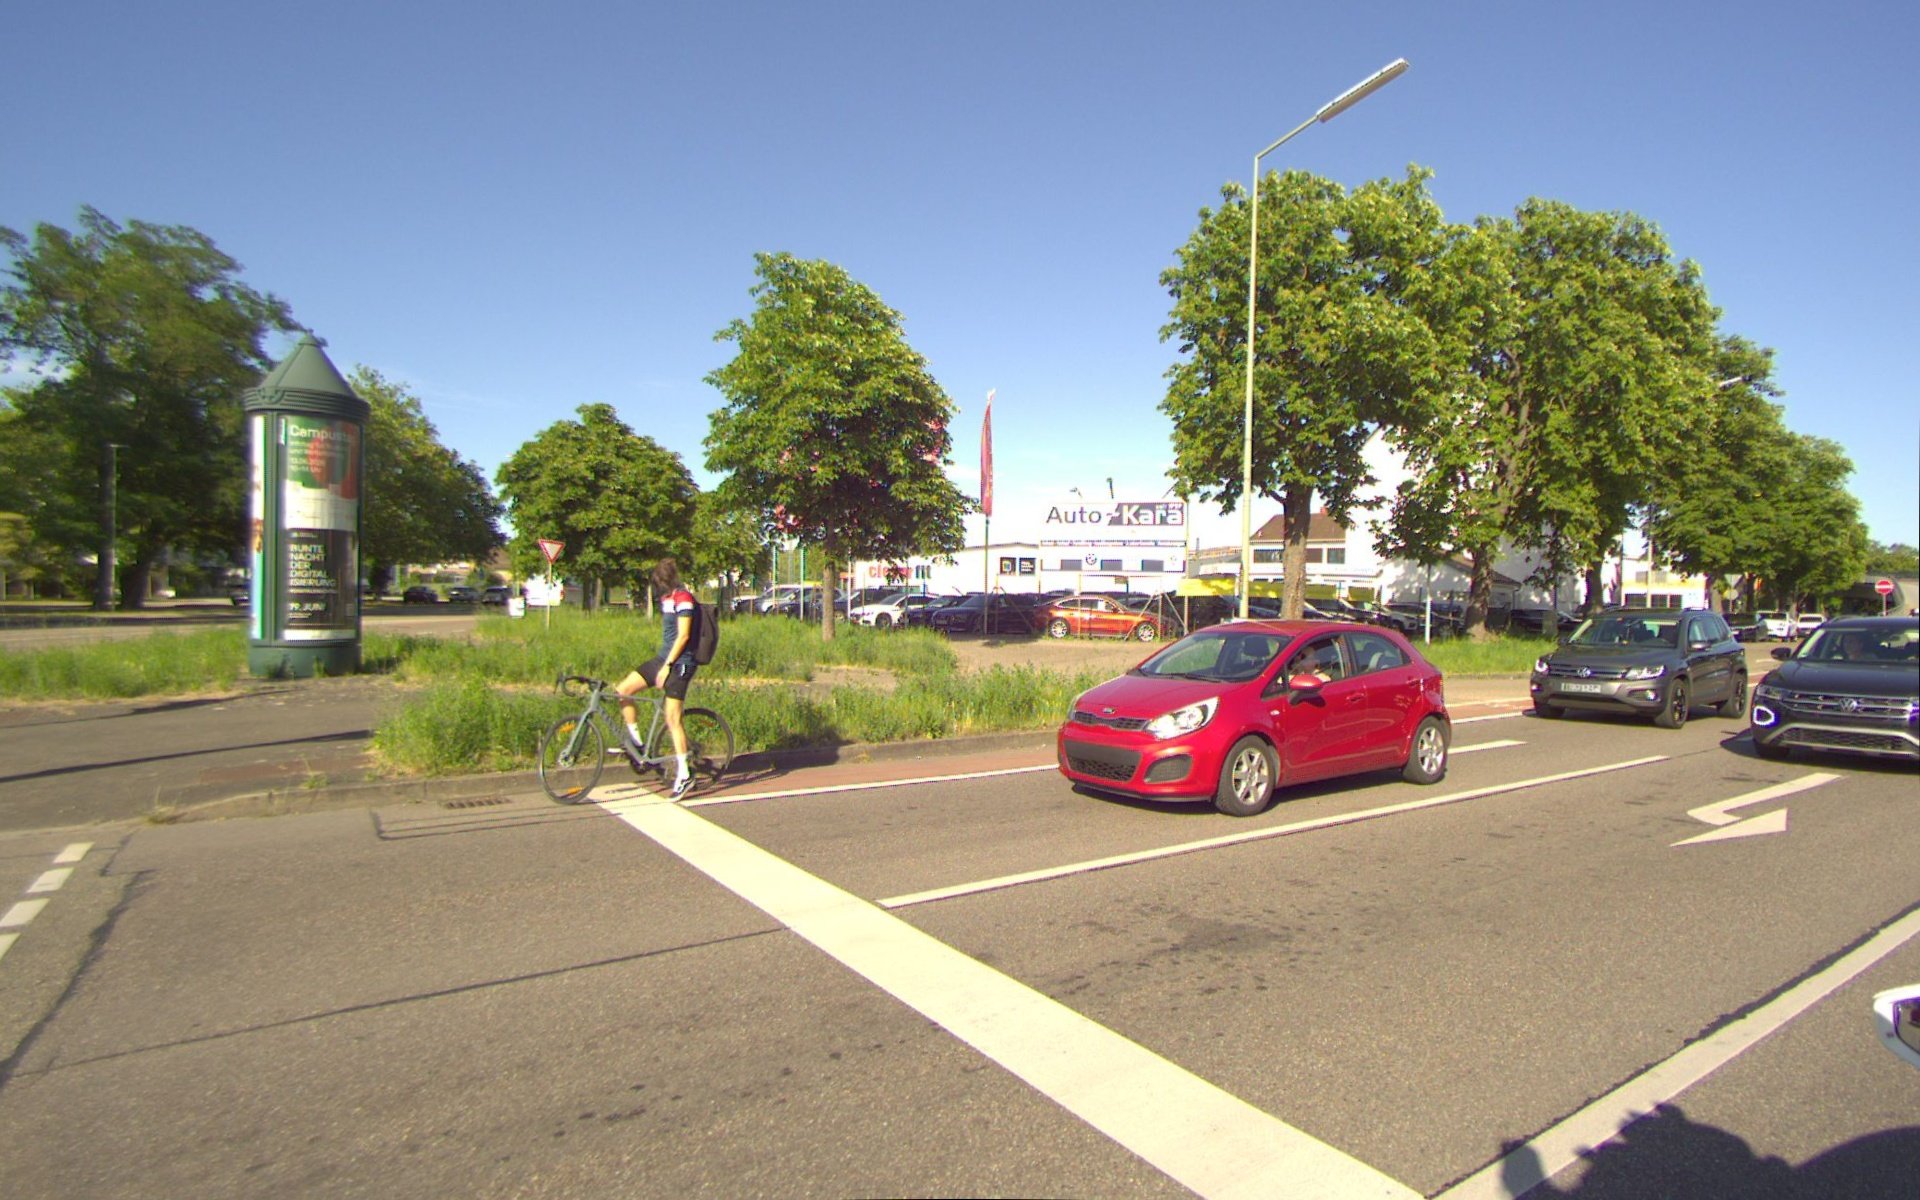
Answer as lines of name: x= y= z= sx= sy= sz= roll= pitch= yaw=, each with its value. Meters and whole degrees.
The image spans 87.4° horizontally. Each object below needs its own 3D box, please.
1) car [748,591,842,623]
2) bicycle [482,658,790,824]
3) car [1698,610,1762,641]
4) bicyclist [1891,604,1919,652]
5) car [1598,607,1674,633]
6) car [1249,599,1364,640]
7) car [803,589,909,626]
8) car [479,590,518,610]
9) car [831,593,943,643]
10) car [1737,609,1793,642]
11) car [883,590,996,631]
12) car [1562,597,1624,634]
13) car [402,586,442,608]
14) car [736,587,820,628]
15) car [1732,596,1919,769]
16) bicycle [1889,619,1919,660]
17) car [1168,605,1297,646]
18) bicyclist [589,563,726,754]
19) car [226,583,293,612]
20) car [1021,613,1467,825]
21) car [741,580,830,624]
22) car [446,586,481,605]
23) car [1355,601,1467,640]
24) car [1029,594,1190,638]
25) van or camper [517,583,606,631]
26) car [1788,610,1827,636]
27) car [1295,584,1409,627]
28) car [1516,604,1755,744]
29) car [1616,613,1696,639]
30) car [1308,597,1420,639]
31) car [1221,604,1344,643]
car: x=-7.611 y=0.318 z=46.429 sx=3.952 sy=1.427 sz=1.825 roll=0 pitch=1 yaw=-30
bicycle: x=-2.551 y=1.041 z=8.024 sx=2.175 sy=1.030 sz=0.931 roll=0 pitch=1 yaw=-36
car: x=39.798 y=1.267 z=51.859 sx=2.017 sy=1.483 sz=4.930 roll=1 pitch=0 yaw=45
bicyclist: x=30.531 y=0.904 z=32.344 sx=0.820 sy=1.505 sz=0.764 roll=0 pitch=1 yaw=-45
car: x=42.403 y=1.211 z=63.073 sx=3.597 sy=1.530 sz=1.785 roll=1 pitch=1 yaw=18
car: x=13.225 y=0.710 z=38.330 sx=3.813 sy=1.432 sz=1.941 roll=1 pitch=1 yaw=32
car: x=-4.326 y=0.334 z=41.837 sx=3.960 sy=1.460 sz=1.980 roll=1 pitch=0 yaw=-35
car: x=-37.571 y=0.004 z=81.789 sx=1.965 sy=1.469 sz=3.991 roll=3 pitch=1 yaw=-12
car: x=-2.869 y=0.700 z=39.692 sx=3.960 sy=1.911 sz=1.980 roll=1 pitch=0 yaw=-35
car: x=45.826 y=1.417 z=57.139 sx=2.016 sy=1.752 sz=5.204 roll=2 pitch=1 yaw=44
car: x=-0.749 y=0.398 z=37.837 sx=3.960 sy=1.481 sz=1.728 roll=1 pitch=0 yaw=-35
car: x=34.839 y=0.826 z=55.222 sx=5.069 sy=1.956 sz=1.730 roll=1 pitch=0 yaw=-45
car: x=-42.660 y=-0.239 z=79.740 sx=1.708 sy=1.640 sz=3.991 roll=3 pitch=1 yaw=-12
car: x=-9.416 y=0.386 z=51.857 sx=3.943 sy=2.041 sz=1.989 roll=0 pitch=1 yaw=-23
car: x=10.240 y=0.803 z=11.064 sx=3.966 sy=1.620 sz=1.898 roll=1 pitch=0 yaw=-39
bicycle: x=30.414 y=1.242 z=32.233 sx=0.784 sy=1.242 sz=3.193 roll=1 pitch=0 yaw=44
car: x=9.345 y=0.826 z=34.481 sx=3.863 sy=1.257 sz=2.040 roll=1 pitch=1 yaw=30
bicyclist: x=-2.443 y=0.431 z=8.083 sx=0.814 sy=1.420 sz=0.927 roll=0 pitch=1 yaw=-35
car: x=-45.734 y=-0.180 z=65.643 sx=1.973 sy=1.820 sz=3.994 roll=0 pitch=1 yaw=-8
car: x=2.568 y=0.854 z=8.751 sx=3.854 sy=1.433 sz=1.771 roll=1 pitch=0 yaw=-37
car: x=-8.590 y=0.114 z=49.373 sx=3.942 sy=2.040 sz=1.989 roll=1 pitch=0 yaw=-23
car: x=-42.516 y=-0.376 z=86.045 sx=1.840 sy=1.459 sz=3.475 roll=3 pitch=1 yaw=-12
car: x=19.776 y=0.868 z=44.068 sx=4.329 sy=1.596 sz=1.811 roll=1 pitch=1 yaw=29
car: x=4.945 y=0.491 z=33.020 sx=4.959 sy=1.327 sz=2.361 roll=1 pitch=1 yaw=17
van or camper: x=-22.697 y=0.440 z=57.565 sx=2.555 sy=2.617 sz=6.611 roll=0 pitch=-1 yaw=-1
car: x=70.032 y=1.870 z=82.997 sx=4.226 sy=2.018 sz=1.905 roll=0 pitch=1 yaw=-43
car: x=15.483 y=0.194 z=39.671 sx=3.929 sy=1.581 sz=1.996 roll=1 pitch=1 yaw=30
car: x=10.208 y=0.971 z=15.068 sx=4.233 sy=1.759 sz=1.837 roll=0 pitch=1 yaw=-39
car: x=44.696 y=1.664 z=64.583 sx=3.924 sy=1.619 sz=1.998 roll=-1 pitch=0 yaw=24
car: x=16.641 y=0.697 z=41.431 sx=3.937 sy=1.632 sz=1.914 roll=1 pitch=1 yaw=38
car: x=11.619 y=0.828 z=36.183 sx=3.863 sy=1.257 sz=2.040 roll=1 pitch=1 yaw=30
